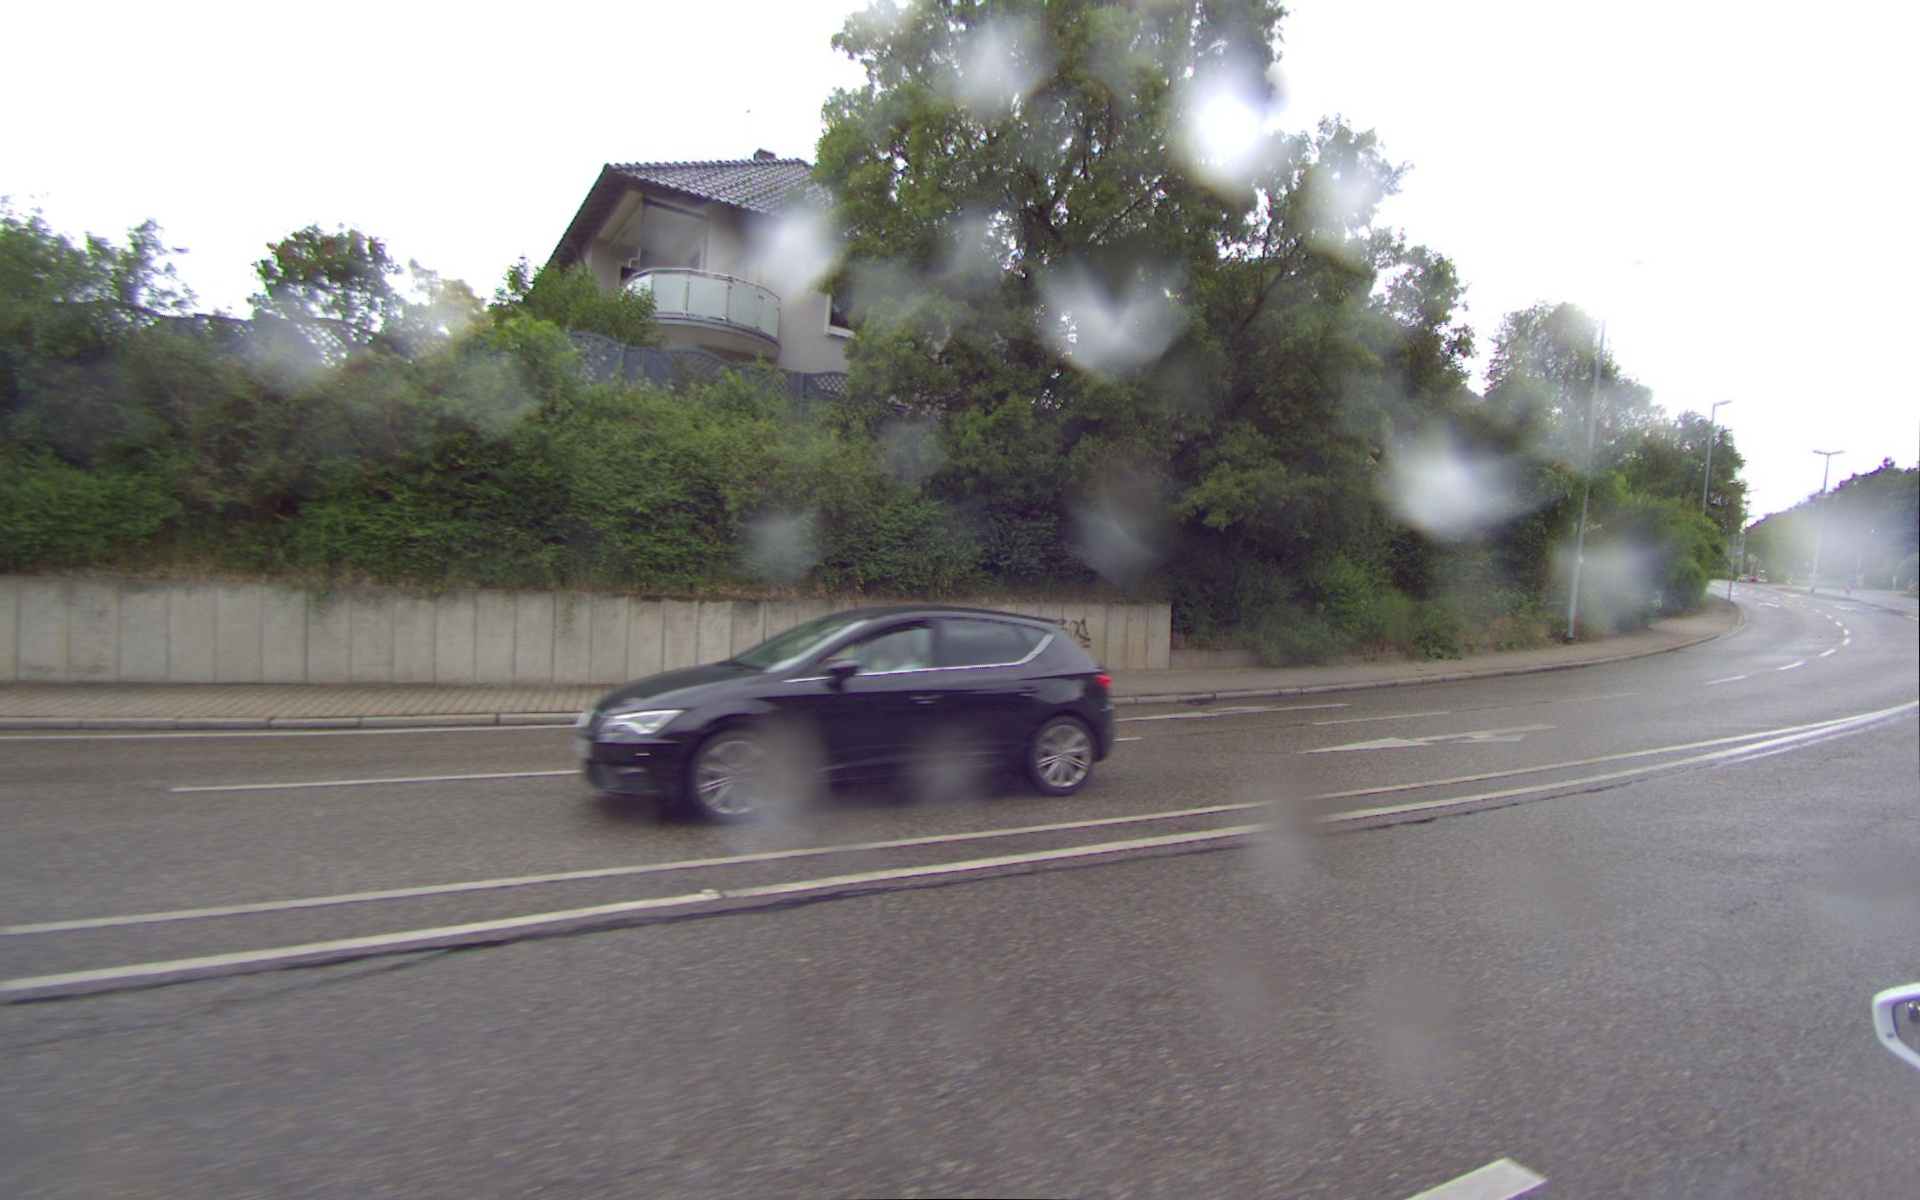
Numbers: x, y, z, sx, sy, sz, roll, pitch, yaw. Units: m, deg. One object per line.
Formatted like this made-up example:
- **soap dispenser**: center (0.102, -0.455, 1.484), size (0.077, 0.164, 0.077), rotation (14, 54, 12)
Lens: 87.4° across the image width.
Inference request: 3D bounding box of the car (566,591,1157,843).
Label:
- **car**: center (-0.711, 0.764, 7.852), size (4.183, 1.507, 1.883), rotation (2, -1, -29)

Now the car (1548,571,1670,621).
- **car**: center (26.822, -0.213, 41.540), size (3.938, 1.467, 1.848), rotation (11, 7, 38)
